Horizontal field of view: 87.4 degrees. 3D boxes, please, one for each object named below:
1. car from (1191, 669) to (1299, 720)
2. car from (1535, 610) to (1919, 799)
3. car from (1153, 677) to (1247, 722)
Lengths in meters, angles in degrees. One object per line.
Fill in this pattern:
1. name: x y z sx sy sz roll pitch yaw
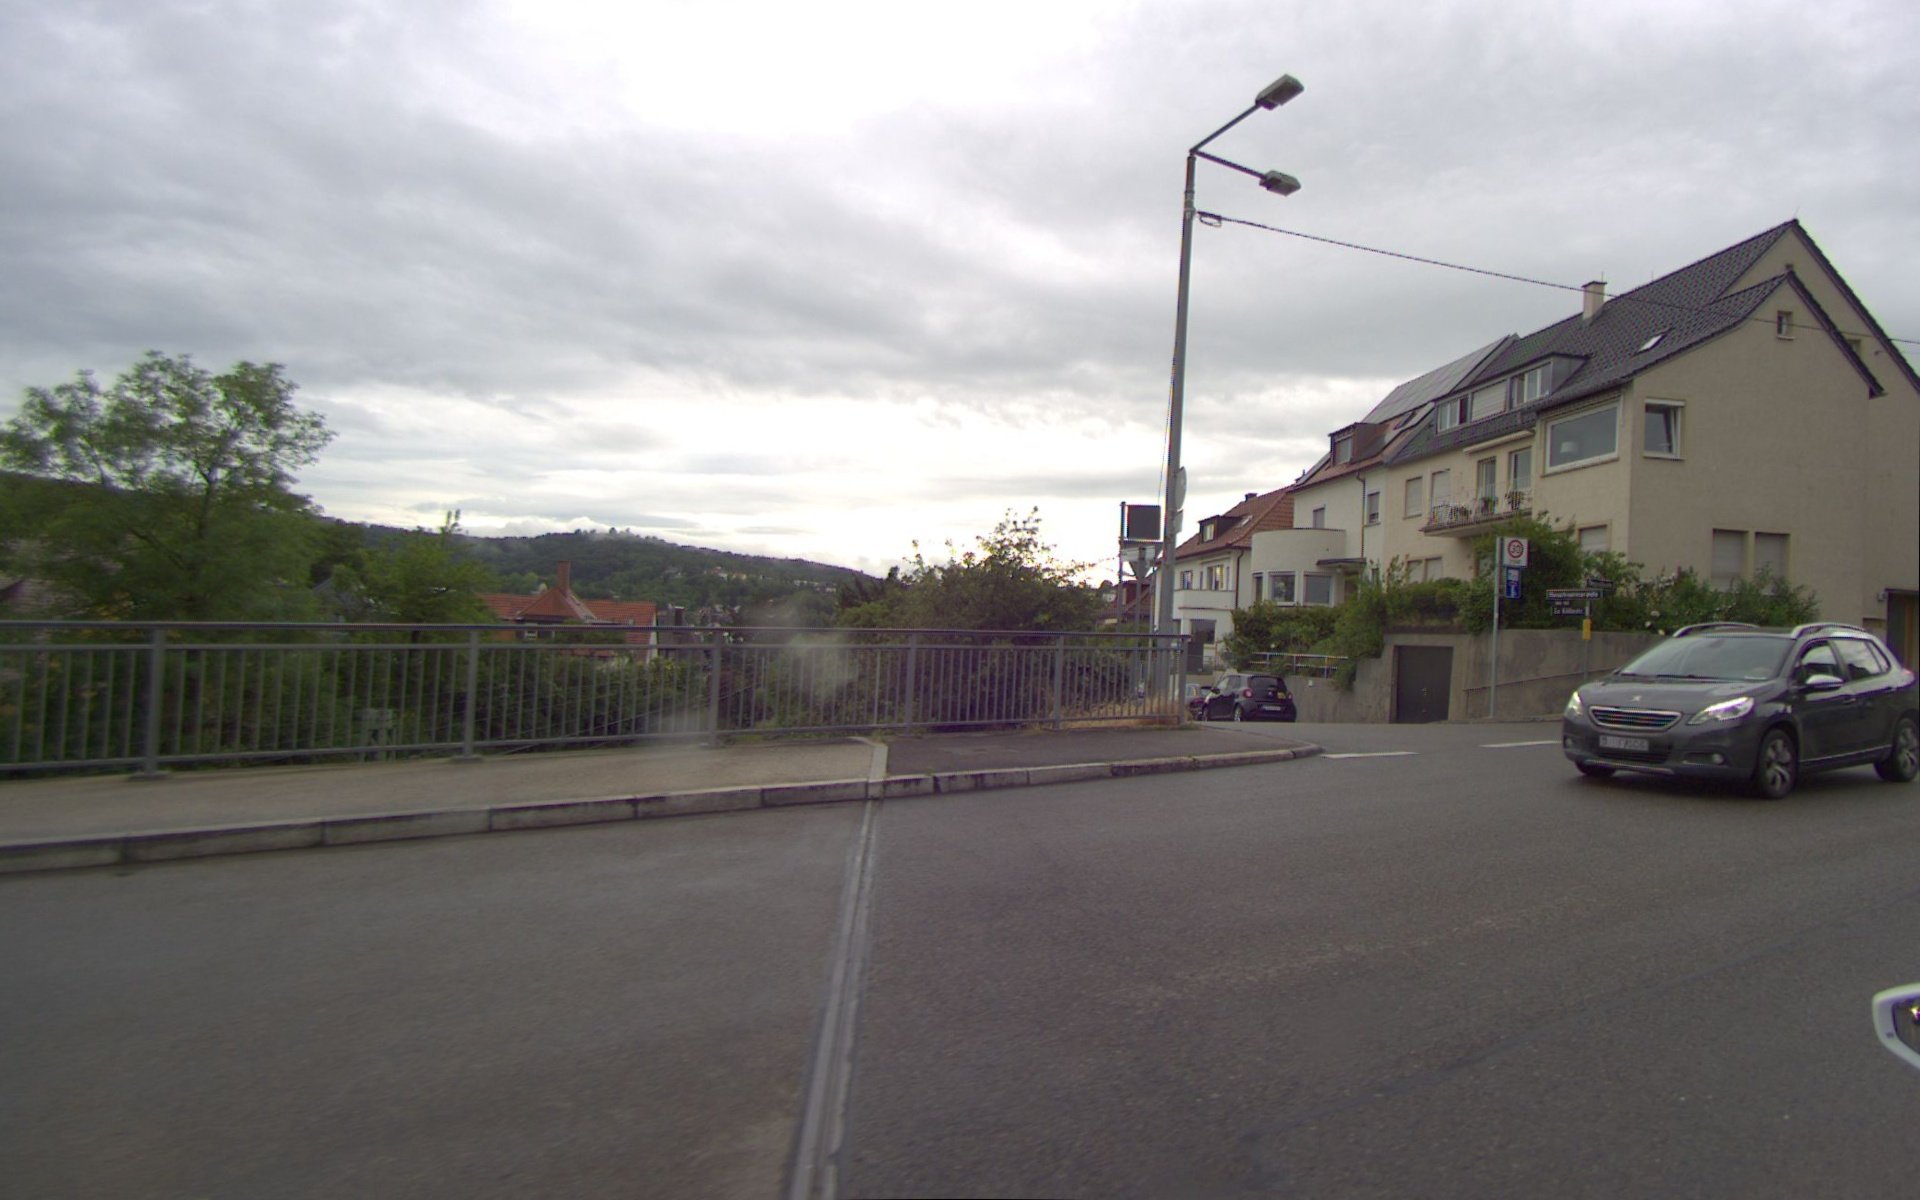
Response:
1. car: 8.243 2.822 29.387 1.622 1.286 4.000 4 -7 -6
2. car: 7.809 0.940 10.024 3.949 1.565 1.728 1 -2 -27
3. car: 7.908 3.360 33.464 1.774 1.286 4.000 4 -7 -6
